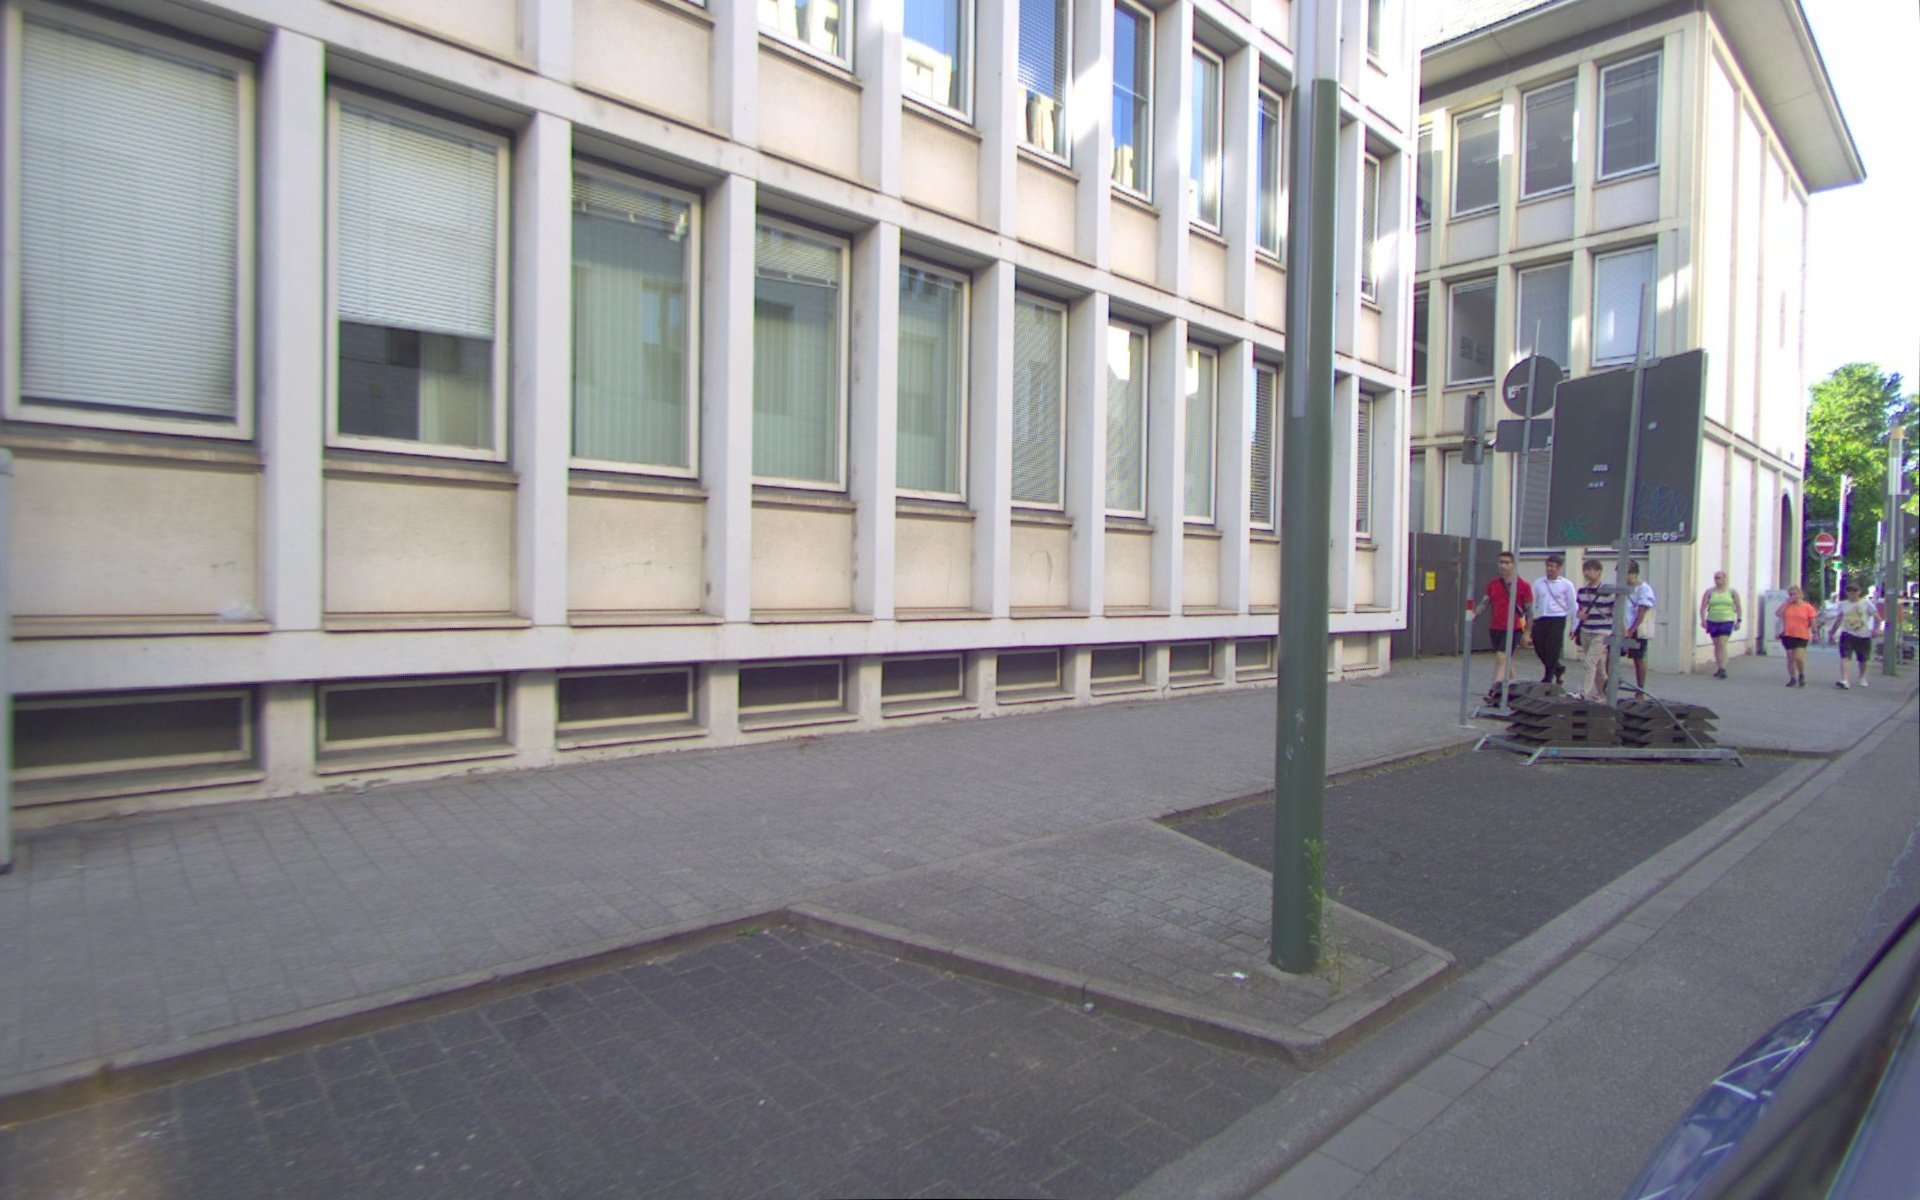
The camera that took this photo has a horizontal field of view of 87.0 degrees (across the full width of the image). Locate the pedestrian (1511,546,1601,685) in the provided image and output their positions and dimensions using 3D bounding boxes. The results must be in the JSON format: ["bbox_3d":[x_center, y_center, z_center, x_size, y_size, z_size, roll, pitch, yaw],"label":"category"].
[{"bbox_3d":[8.162,0.196,13.866,0.681,1.799,0.685,0,7,-40],"label":"pedestrian"}]

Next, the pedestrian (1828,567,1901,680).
[{"bbox_3d":[14.535,0.361,16.265,0.681,1.736,0.685,0,3,-40],"label":"pedestrian"}]

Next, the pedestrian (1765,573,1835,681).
[{"bbox_3d":[13.362,0.410,16.103,0.681,1.656,0.684,0,3,-40],"label":"pedestrian"}]

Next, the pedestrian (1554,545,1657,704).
[{"bbox_3d":[7.746,0.274,12.151,0.681,1.799,0.685,0,7,-40],"label":"pedestrian"}]

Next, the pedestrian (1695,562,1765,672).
[{"bbox_3d":[12.773,0.267,16.782,0.681,1.736,0.685,0,4,-40],"label":"pedestrian"}]

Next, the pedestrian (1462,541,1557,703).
[{"bbox_3d":[6.419,0.233,11.838,0.583,1.799,0.685,0,4,-40],"label":"pedestrian"}]

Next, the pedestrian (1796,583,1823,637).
[{"bbox_3d":[26.686,0.299,31.778,0.624,1.662,0.614,1,1,42],"label":"pedestrian"}]

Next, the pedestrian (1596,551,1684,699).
[{"bbox_3d":[8.675,0.293,12.916,0.681,1.800,0.685,0,3,-40],"label":"pedestrian"}]

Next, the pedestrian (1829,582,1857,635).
[{"bbox_3d":[27.744,0.256,31.797,0.624,1.634,0.614,1,1,42],"label":"pedestrian"}]
